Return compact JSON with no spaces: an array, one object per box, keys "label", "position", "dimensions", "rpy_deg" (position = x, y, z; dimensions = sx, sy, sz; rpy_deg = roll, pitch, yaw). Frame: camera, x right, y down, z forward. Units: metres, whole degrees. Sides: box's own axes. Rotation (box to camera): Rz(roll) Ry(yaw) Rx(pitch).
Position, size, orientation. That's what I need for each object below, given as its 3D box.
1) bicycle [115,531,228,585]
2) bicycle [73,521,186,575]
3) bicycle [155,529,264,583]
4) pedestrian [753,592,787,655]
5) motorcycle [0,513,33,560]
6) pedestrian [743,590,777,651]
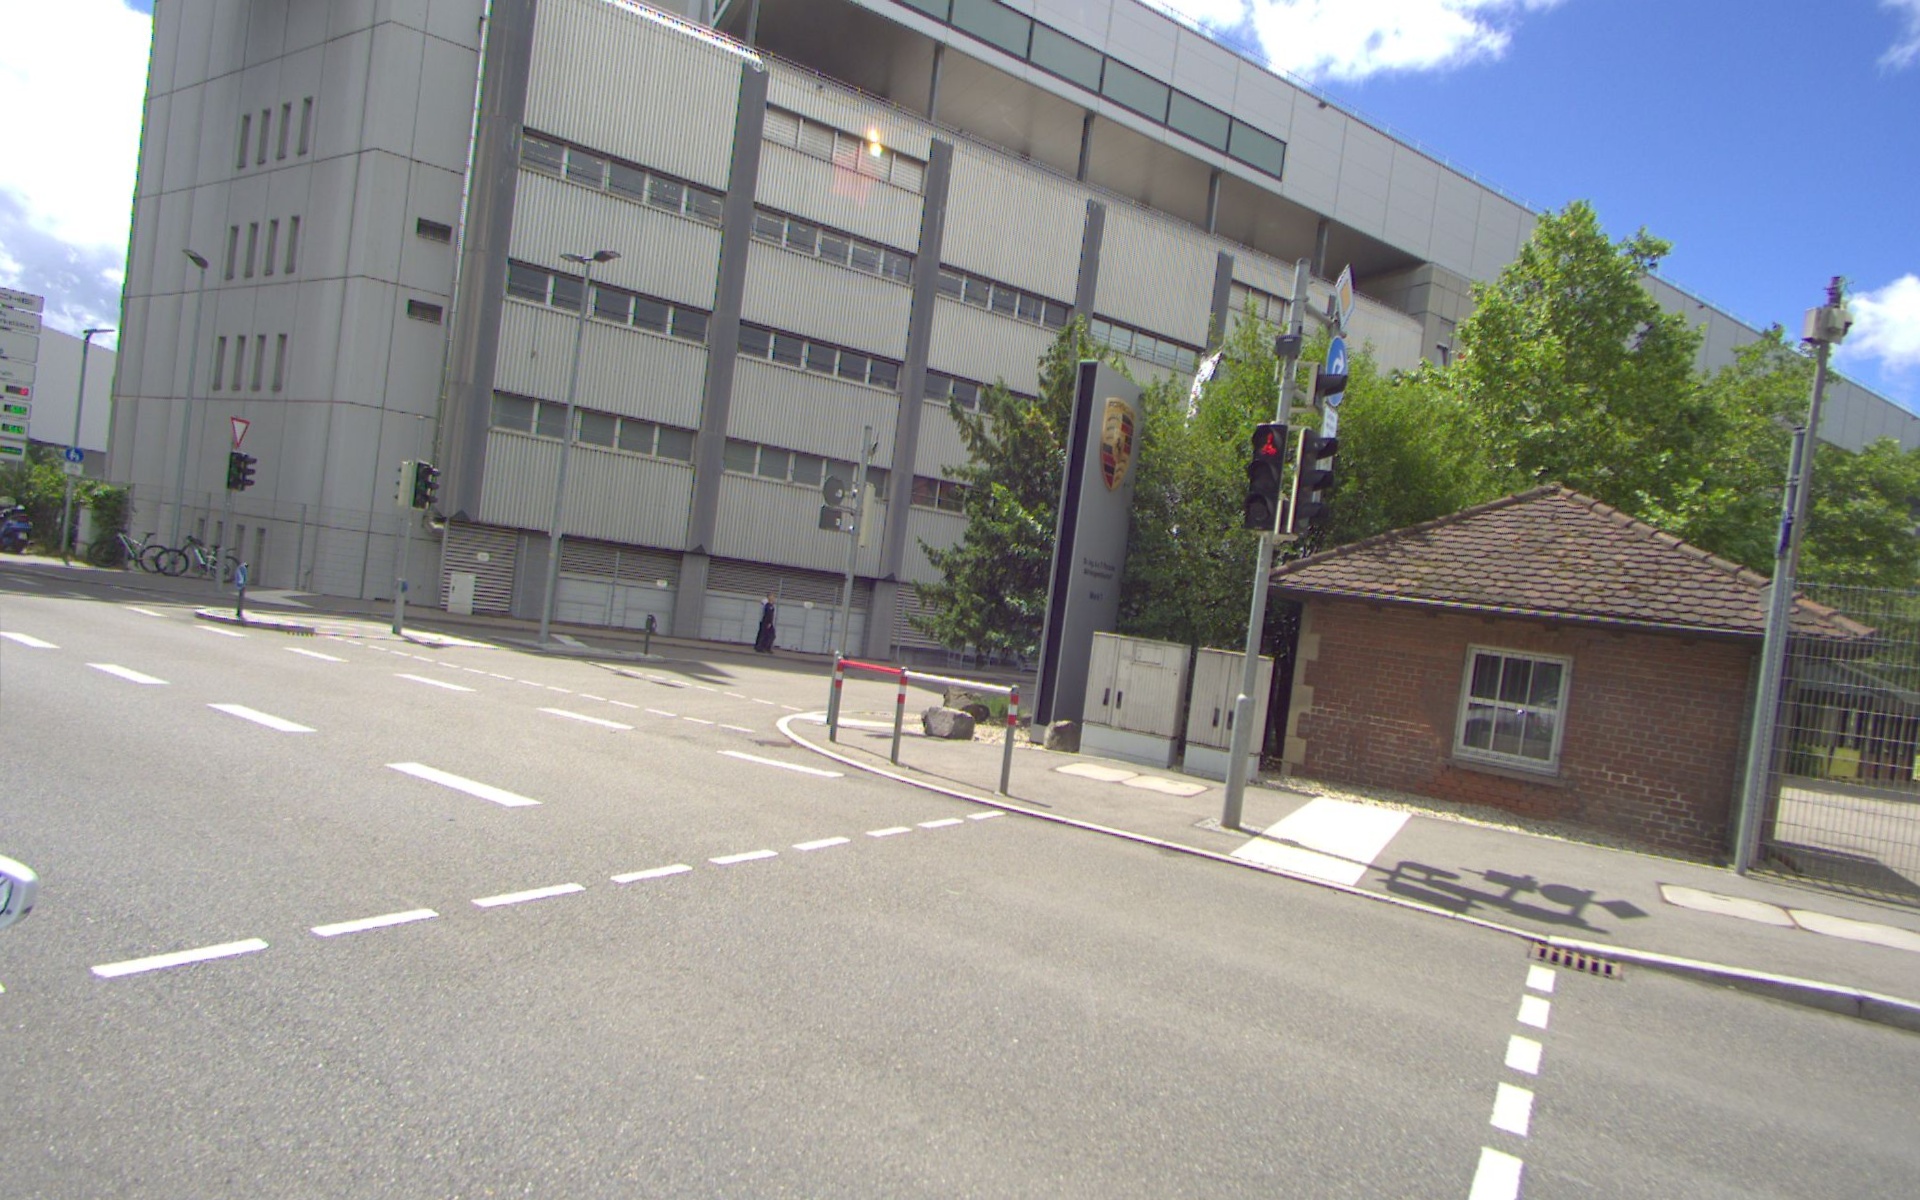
[{"label":"bicycle","position":[-20.853,-1.093,26.651],"dimensions":[2.196,1.099,0.474],"rpy_deg":[8,-2,-24]},{"label":"bicycle","position":[-22.192,-1.385,26.934],"dimensions":[2.196,1.099,0.474],"rpy_deg":[8,-2,-24]},{"label":"bicycle","position":[-19.774,-1.144,26.557],"dimensions":[2.166,1.099,0.474],"rpy_deg":[8,-2,-24]},{"label":"pedestrian","position":[-5.689,0.711,30.126],"dimensions":[0.651,1.778,0.516],"rpy_deg":[7,3,-31]},{"label":"motorcycle","position":[-26.472,-1.800,27.733],"dimensions":[1.921,1.179,0.419],"rpy_deg":[6,-1,21]},{"label":"pedestrian","position":[-6.118,0.626,30.765],"dimensions":[0.651,1.783,0.480],"rpy_deg":[7,2,-31]}]
